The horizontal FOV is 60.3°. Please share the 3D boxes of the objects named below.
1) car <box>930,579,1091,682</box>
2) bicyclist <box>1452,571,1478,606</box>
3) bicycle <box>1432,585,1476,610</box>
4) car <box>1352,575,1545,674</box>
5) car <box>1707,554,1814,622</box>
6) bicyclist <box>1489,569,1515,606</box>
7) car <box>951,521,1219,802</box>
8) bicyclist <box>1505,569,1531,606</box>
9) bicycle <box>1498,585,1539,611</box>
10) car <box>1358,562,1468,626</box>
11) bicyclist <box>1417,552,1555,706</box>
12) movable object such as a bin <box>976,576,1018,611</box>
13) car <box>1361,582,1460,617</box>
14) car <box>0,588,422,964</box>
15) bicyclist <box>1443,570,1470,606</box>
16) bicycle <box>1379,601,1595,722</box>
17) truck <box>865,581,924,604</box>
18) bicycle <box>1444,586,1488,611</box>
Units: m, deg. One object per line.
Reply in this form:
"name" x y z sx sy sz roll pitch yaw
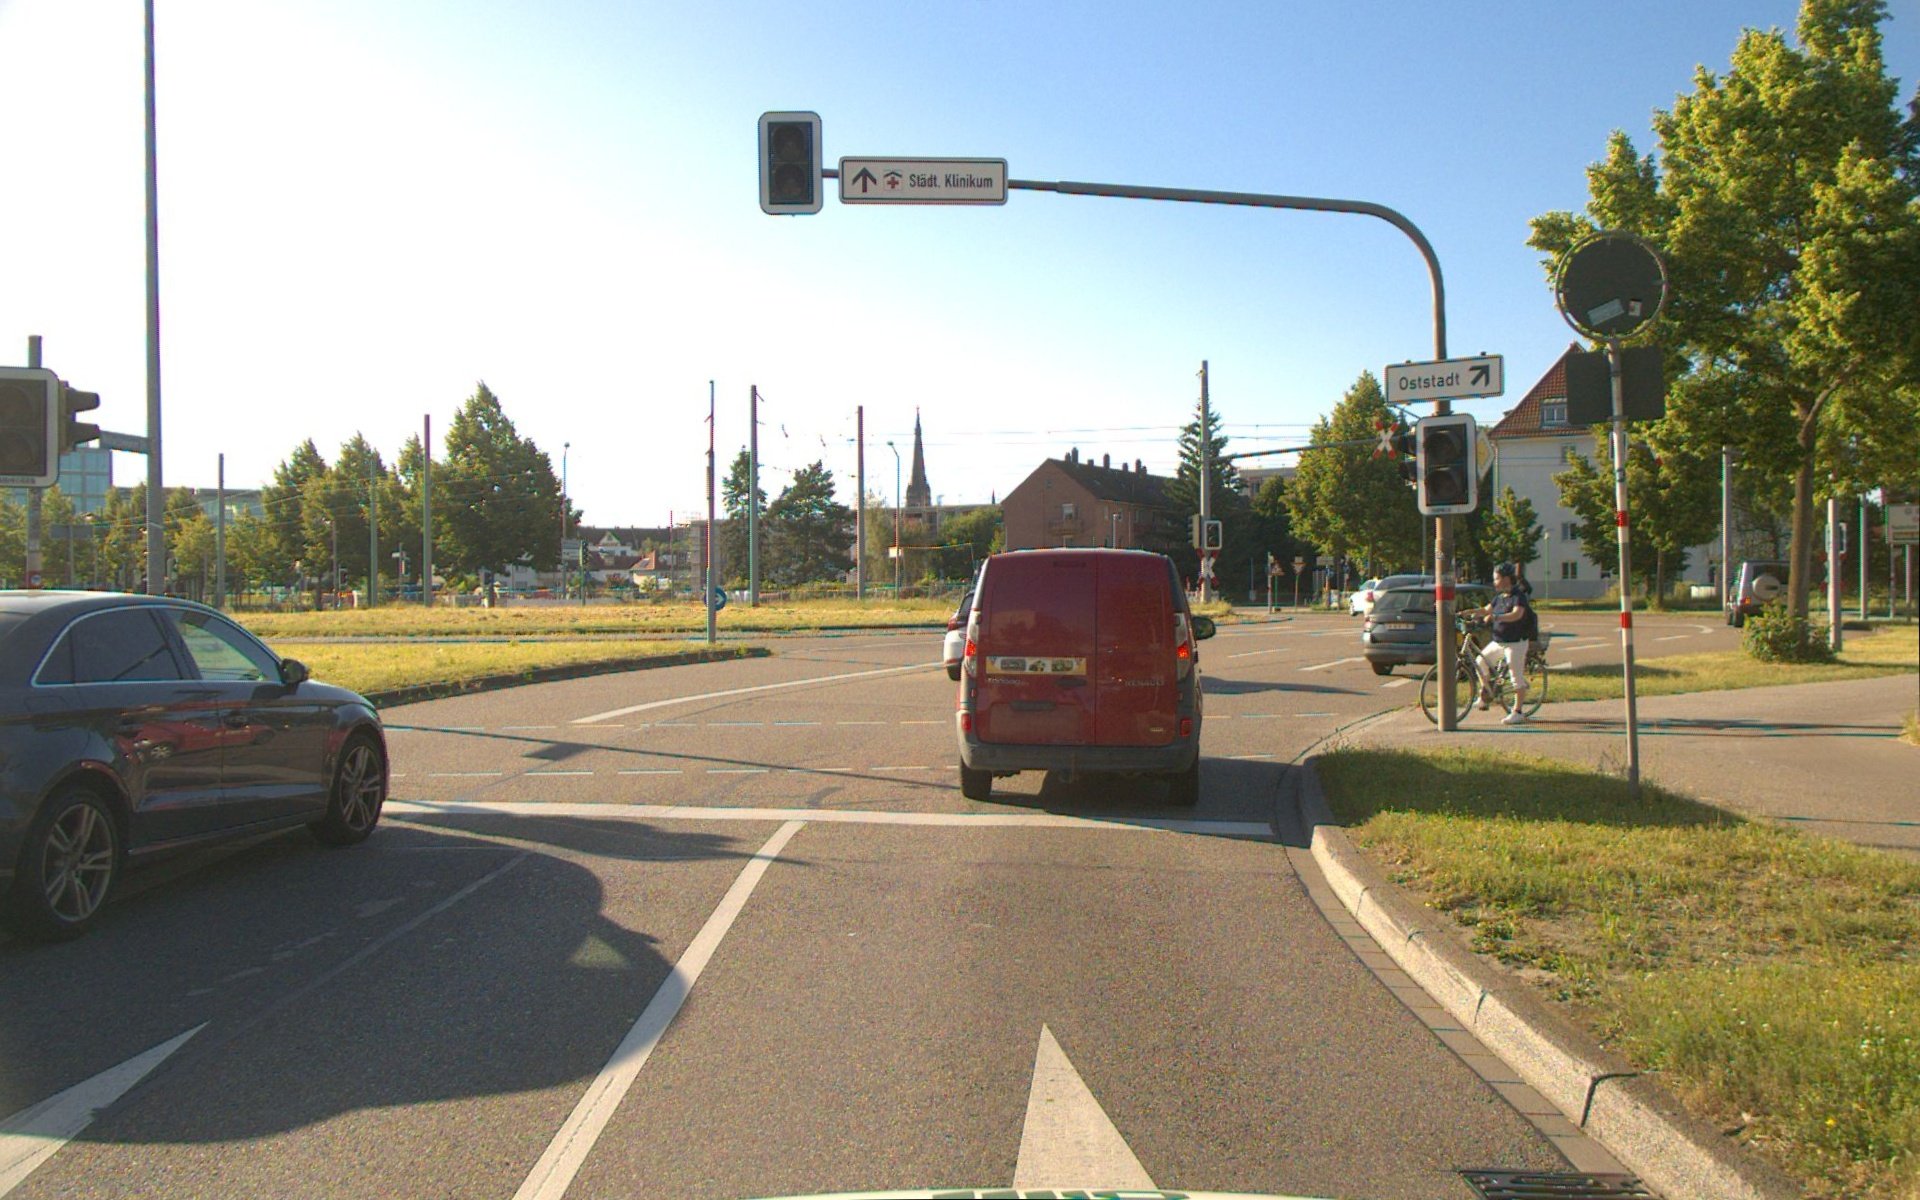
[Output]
"car" 0.877 0.444 26.166 1.764 1.487 3.812 1 0 14
"bicyclist" 27.333 -0.622 89.456 0.875 1.885 1.013 2 -1 -36
"bicycle" 26.364 -0.118 88.259 0.874 1.288 2.182 2 -1 -35
"car" 8.057 0.349 27.061 1.686 1.461 4.134 0 1 37
"car" 24.060 -0.338 49.878 1.954 1.930 4.756 0 0 14
"bicyclist" 28.140 -0.654 85.830 0.798 1.885 1.019 1 -1 -21
"car" 1.038 0.399 12.997 1.764 1.845 3.812 1 0 6
"bicyclist" 29.111 -0.630 86.325 0.798 1.885 1.019 1 -1 -21
"bicycle" 29.103 -0.094 86.288 0.804 1.288 2.195 1 -1 -21
"car" 12.010 -0.180 43.678 1.955 1.602 4.403 0 1 27
"bicyclist" 5.673 0.306 17.858 1.070 1.589 0.870 -2 -1 -24
"movable object such as a bin" 3.057 -0.541 136.975 2.380 2.822 3.981 1 -1 -17
"car" 21.167 -0.034 77.903 1.973 1.566 4.362 -1 1 -31
"car" -4.310 0.651 8.002 1.723 1.404 4.361 0 0 4
"bicyclist" 26.462 -0.654 88.151 0.875 1.885 1.013 2 -1 -36
"bicycle" 5.701 0.641 17.869 2.181 1.175 0.869 -2 -1 -24
"truck" -6.134 -0.674 154.282 2.150 2.049 6.344 2 -1 -39
"bicycle" 27.332 -0.086 89.404 0.874 1.288 2.182 2 -1 -35
